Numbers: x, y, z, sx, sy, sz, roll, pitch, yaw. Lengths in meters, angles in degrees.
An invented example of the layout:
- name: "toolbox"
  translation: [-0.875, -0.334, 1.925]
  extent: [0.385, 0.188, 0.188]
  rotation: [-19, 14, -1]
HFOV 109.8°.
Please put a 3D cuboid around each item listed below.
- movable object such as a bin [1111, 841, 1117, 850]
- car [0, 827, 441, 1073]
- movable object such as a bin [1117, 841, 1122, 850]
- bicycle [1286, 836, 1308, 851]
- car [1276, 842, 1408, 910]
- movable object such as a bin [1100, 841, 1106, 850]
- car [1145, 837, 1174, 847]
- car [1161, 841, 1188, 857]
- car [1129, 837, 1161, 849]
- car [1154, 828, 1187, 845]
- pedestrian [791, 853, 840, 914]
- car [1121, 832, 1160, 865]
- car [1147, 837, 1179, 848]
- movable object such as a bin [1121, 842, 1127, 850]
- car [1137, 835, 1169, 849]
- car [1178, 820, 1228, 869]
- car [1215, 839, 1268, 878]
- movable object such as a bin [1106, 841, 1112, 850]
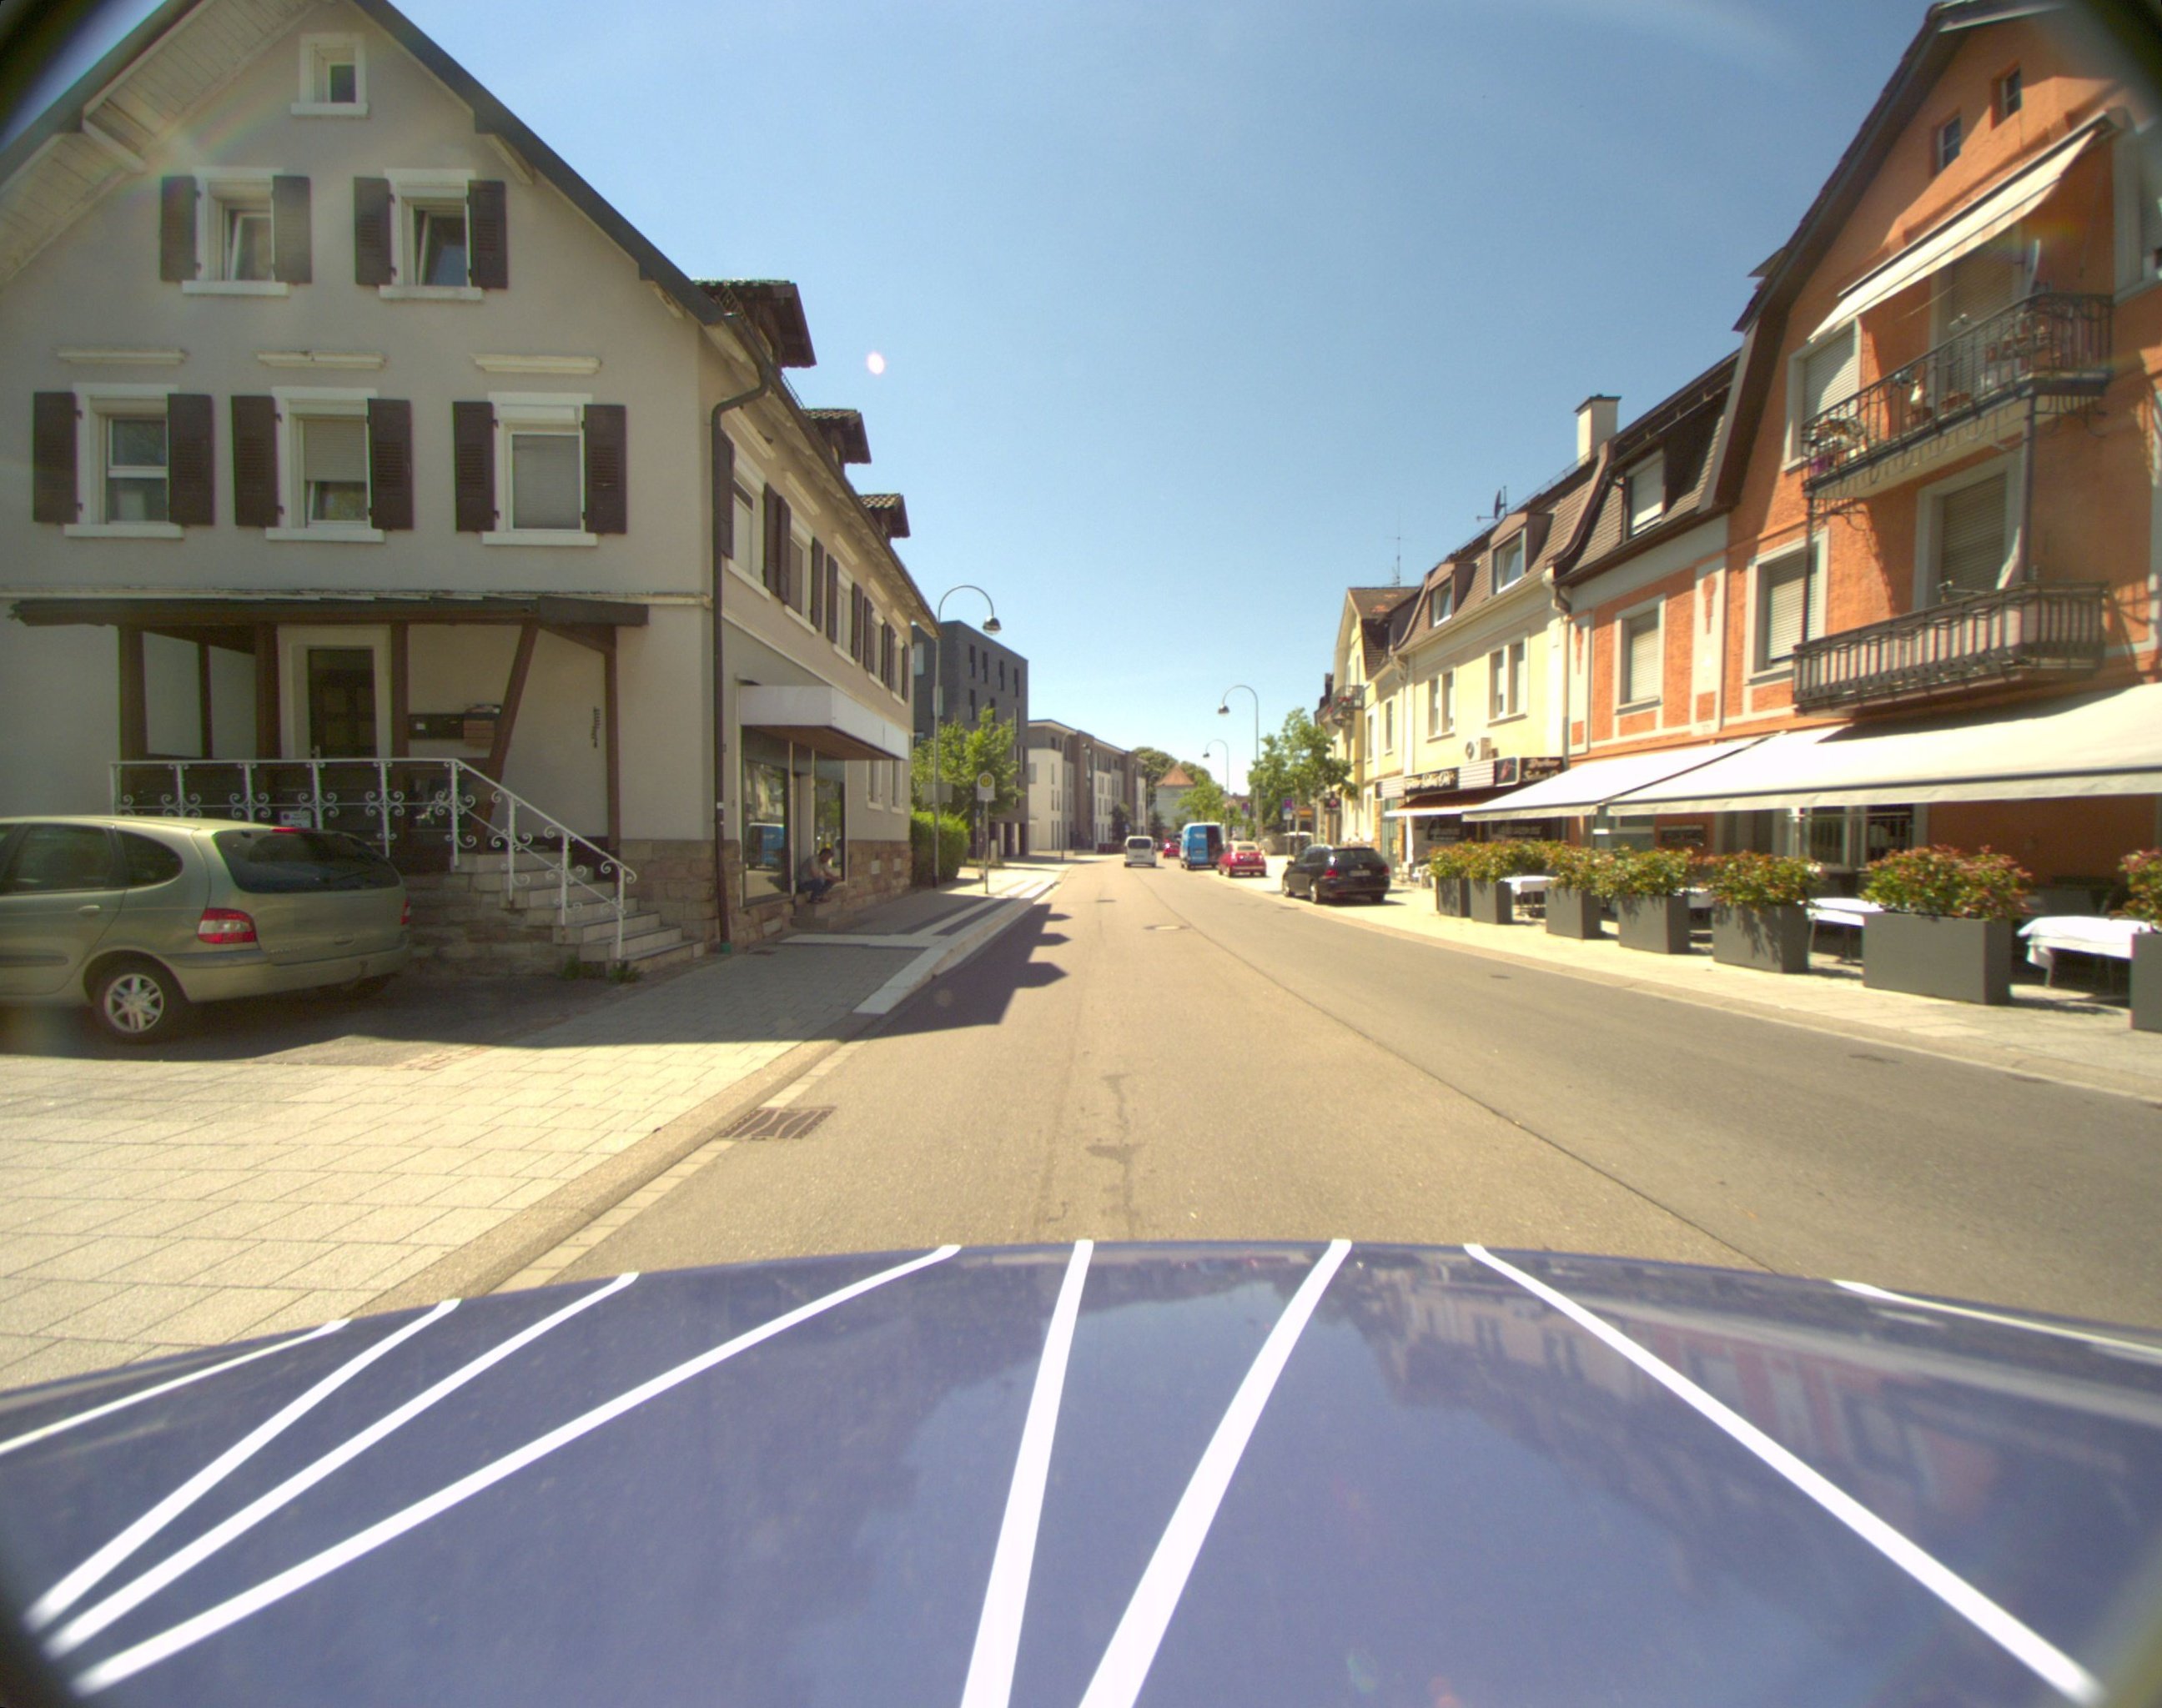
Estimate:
- name: "movable object such as a bin"
  translation: [3.636, -0.932, 83.472]
  extent: [0.473, 0.925, 0.529]
  rotation: [2, 3, 18]
- name: "car"
  translation: [-7.920, 0.622, 6.099]
  extent: [4.071, 1.586, 1.802]
  rotation: [2, 2, 1]
- name: "movable object such as a bin"
  translation: [4.202, -0.899, 83.235]
  extent: [0.473, 0.925, 0.529]
  rotation: [2, 3, 18]
- name: "bicycle"
  translation: [18.964, -0.954, 66.797]
  extent: [1.767, 1.227, 0.617]
  rotation: [-3, -1, 17]
- name: "car"
  translation: [6.670, 0.486, 19.955]
  extent: [1.920, 1.473, 4.336]
  rotation: [-3, 1, 0]
- name: "movable object such as a bin"
  translation: [2.415, -0.951, 83.727]
  extent: [0.473, 0.925, 0.529]
  rotation: [2, 3, 18]
- name: "car"
  translation: [10.871, -1.664, 105.323]
  extent: [3.812, 1.454, 1.654]
  rotation: [1, 2, 17]
- name: "car"
  translation: [8.983, -0.489, 72.678]
  extent: [1.917, 1.418, 3.985]
  rotation: [0, 1, 17]
- name: "car"
  translation: [8.271, -1.418, 97.734]
  extent: [3.812, 1.474, 1.780]
  rotation: [1, 2, 16]
- name: "car"
  translation: [14.110, -2.780, 119.598]
  extent: [4.860, 2.721, 1.853]
  rotation: [1, 2, 18]
- name: "pedestrian"
  translation: [-4.510, 0.492, 12.924]
  extent: [0.591, 0.994, 0.723]
  rotation: [1, 2, -2]
- name: "car"
  translation: [3.441, -0.329, 44.853]
  extent: [1.998, 1.812, 4.414]
  rotation: [1, 1, 1]
- name: "car"
  translation: [11.865, -1.732, 109.702]
  extent: [4.353, 1.542, 1.653]
  rotation: [1, 2, 15]
- name: "movable object such as a bin"
  translation: [4.740, -0.884, 83.085]
  extent: [0.473, 0.925, 0.529]
  rotation: [2, 3, 18]
- name: "car"
  translation: [9.424, -1.627, 99.413]
  extent: [3.812, 1.776, 1.842]
  rotation: [1, 2, 16]
- name: "car"
  translation: [6.646, -0.558, 41.862]
  extent: [2.097, 2.484, 5.503]
  rotation: [-2, 1, 3]
- name: "car"
  translation: [6.968, 0.154, 33.201]
  extent: [1.563, 1.512, 3.514]
  rotation: [-1, 2, 0]
- name: "movable object such as a bin"
  translation: [3.072, -0.941, 83.625]
  extent: [0.473, 0.925, 0.529]
  rotation: [2, 3, 18]
